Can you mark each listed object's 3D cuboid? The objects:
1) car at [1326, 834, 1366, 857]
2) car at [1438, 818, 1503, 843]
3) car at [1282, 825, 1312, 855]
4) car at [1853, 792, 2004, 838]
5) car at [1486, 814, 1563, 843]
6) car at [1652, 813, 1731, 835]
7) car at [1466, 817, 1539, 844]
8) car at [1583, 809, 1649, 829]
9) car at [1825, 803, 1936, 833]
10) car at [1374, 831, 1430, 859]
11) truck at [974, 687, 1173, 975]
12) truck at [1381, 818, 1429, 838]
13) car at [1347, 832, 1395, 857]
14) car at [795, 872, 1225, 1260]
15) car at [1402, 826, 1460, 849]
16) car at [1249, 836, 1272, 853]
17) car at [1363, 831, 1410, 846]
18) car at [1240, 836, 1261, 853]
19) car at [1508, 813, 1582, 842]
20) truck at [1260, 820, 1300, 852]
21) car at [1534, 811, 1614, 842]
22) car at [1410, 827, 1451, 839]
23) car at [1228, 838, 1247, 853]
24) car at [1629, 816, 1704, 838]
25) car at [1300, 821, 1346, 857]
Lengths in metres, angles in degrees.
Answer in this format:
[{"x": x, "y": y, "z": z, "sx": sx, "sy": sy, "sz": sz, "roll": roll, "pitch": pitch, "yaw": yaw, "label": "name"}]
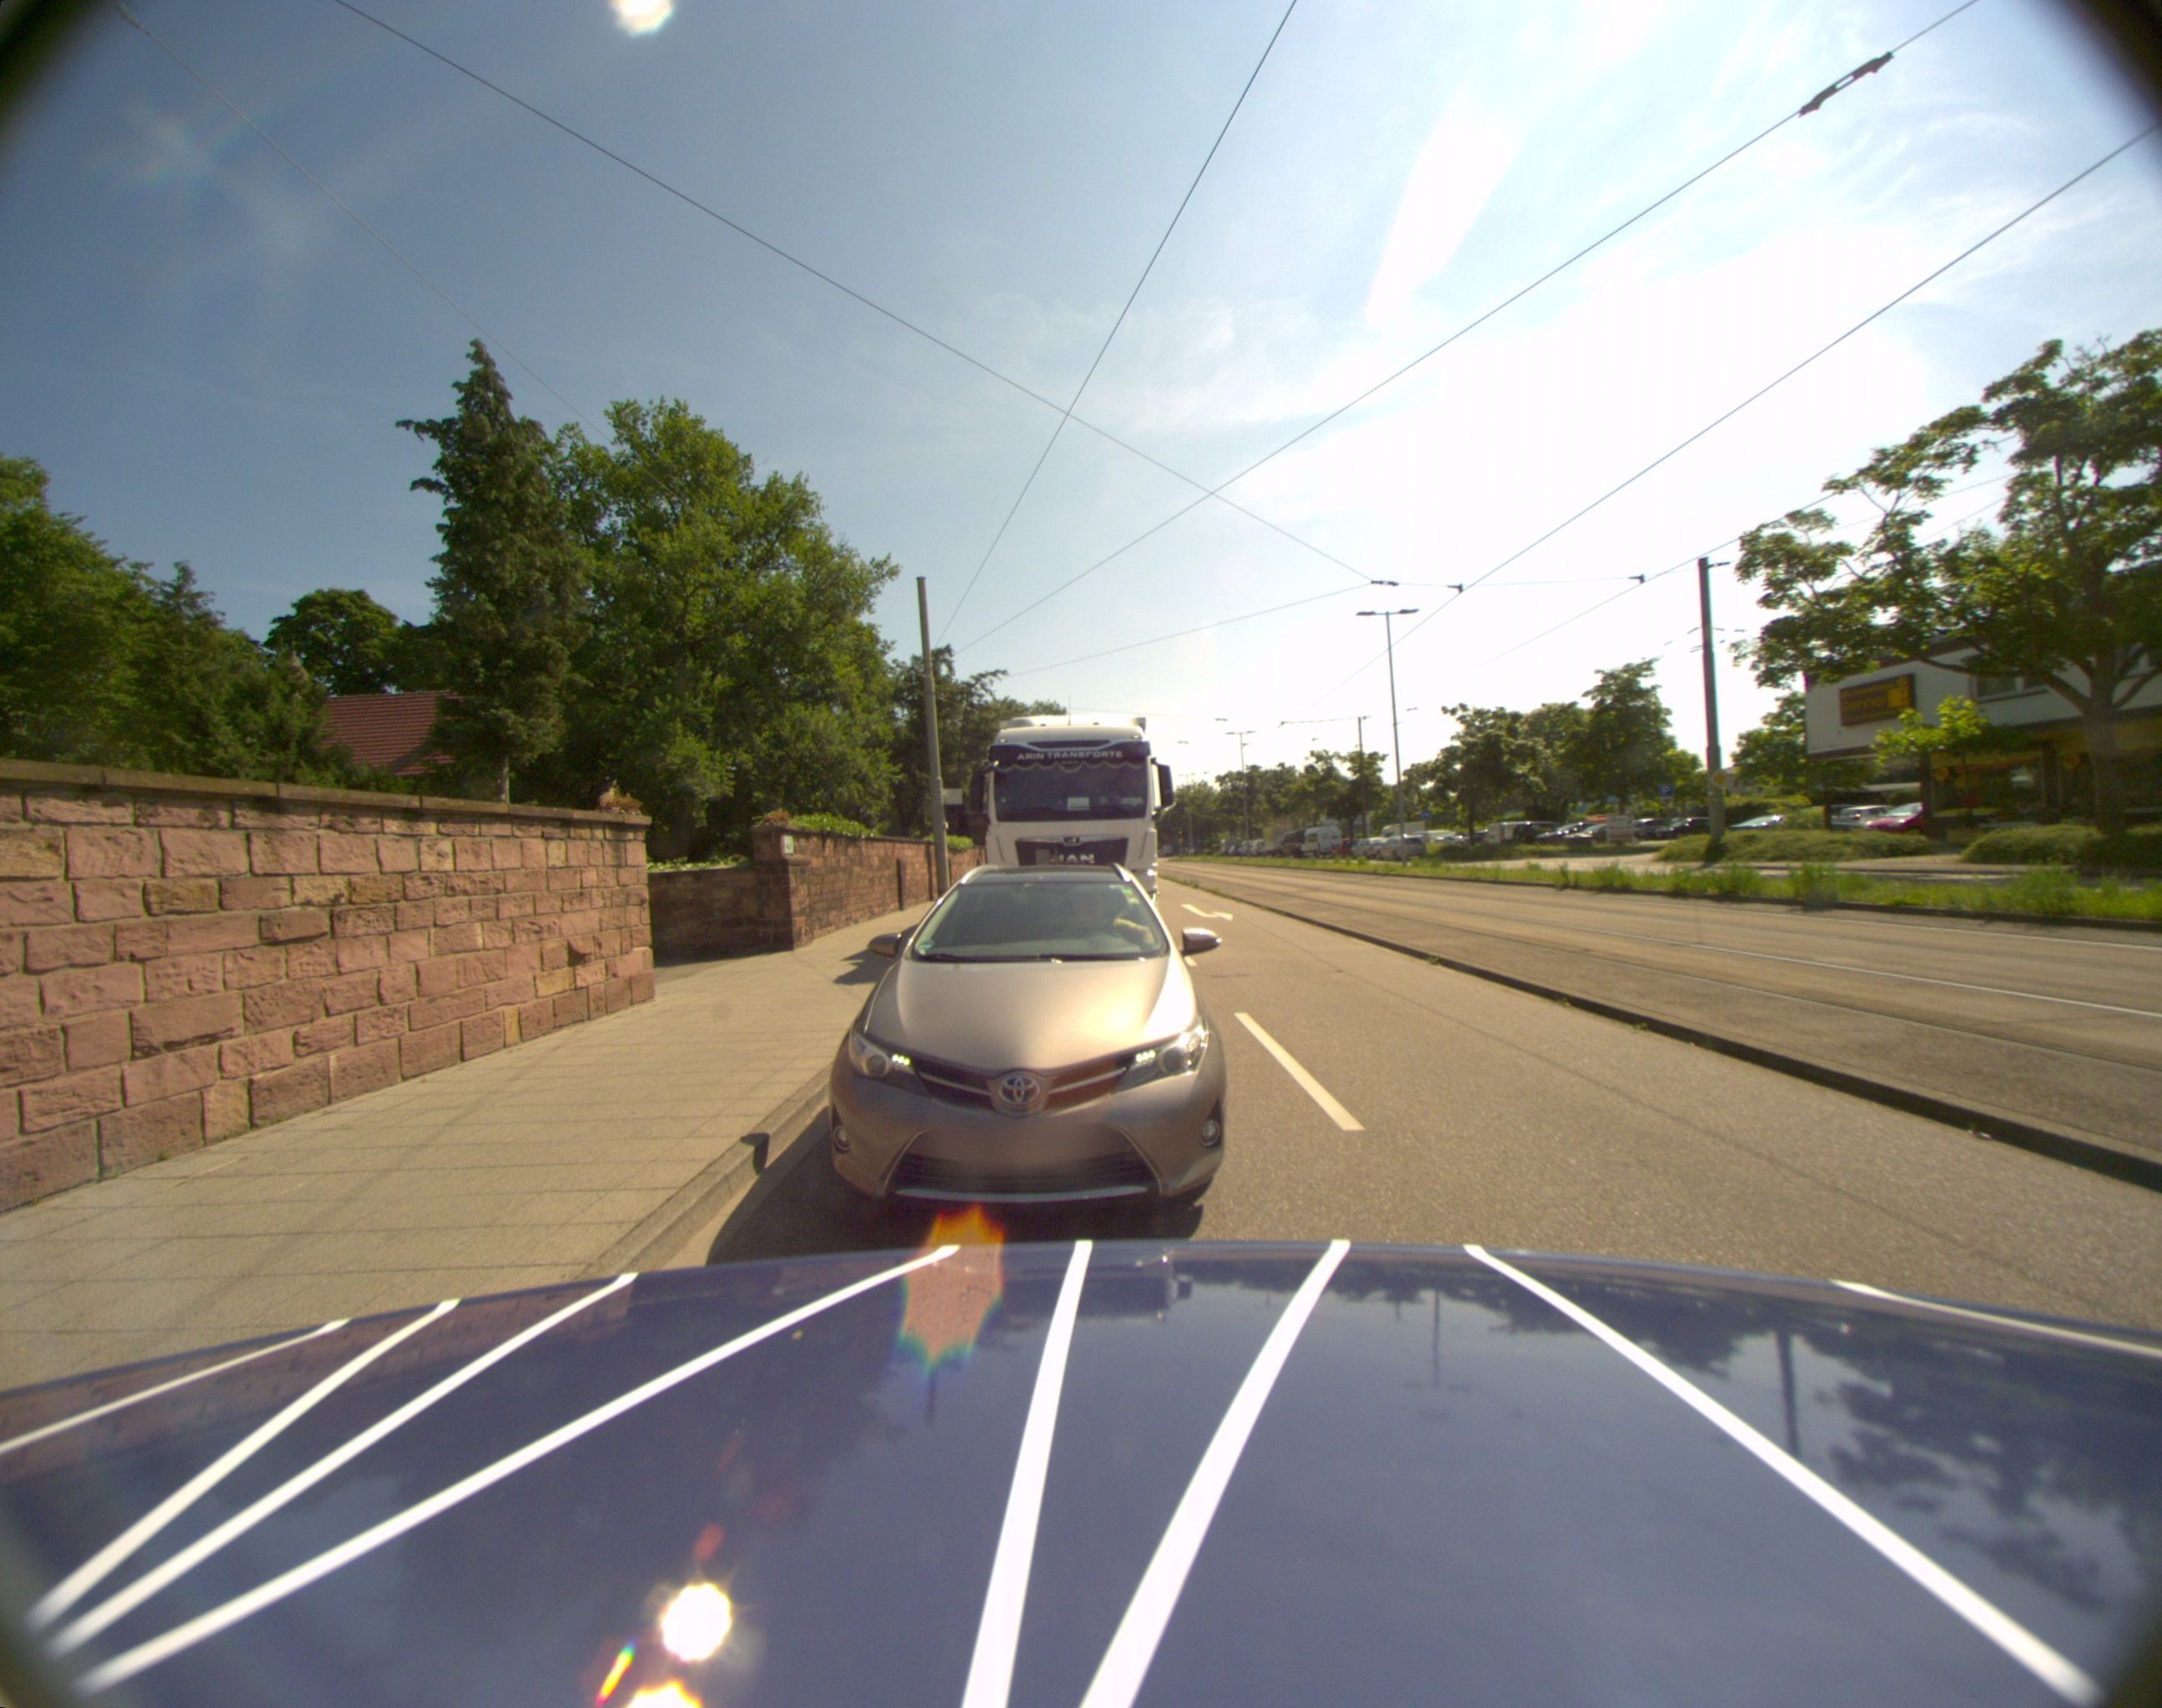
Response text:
[{"x": 20.476, "y": -0.651, "z": 58.750, "sx": 1.675, "sy": 1.524, "sz": 3.793, "roll": -6, "pitch": 0, "yaw": 1, "label": "car"}, {"x": 31.230, "y": -1.862, "z": 60.972, "sx": 4.117, "sy": 1.728, "sz": 1.990, "roll": -3, "pitch": 1, "yaw": -2, "label": "car"}, {"x": 19.951, "y": -1.258, "z": 70.344, "sx": 1.502, "sy": 2.609, "sz": 4.007, "roll": -6, "pitch": 0, "yaw": 1, "label": "car"}, {"x": 35.261, "y": -1.583, "z": 31.678, "sx": 4.252, "sy": 1.595, "sz": 1.676, "roll": -3, "pitch": 1, "yaw": 2, "label": "car"}, {"x": 30.692, "y": -1.772, "z": 52.664, "sx": 4.117, "sy": 1.728, "sz": 1.990, "roll": -3, "pitch": 1, "yaw": -2, "label": "car"}, {"x": 44.028, "y": -2.143, "z": 54.877, "sx": 4.252, "sy": 1.327, "sz": 1.676, "roll": -3, "pitch": 0, "yaw": 2, "label": "car"}, {"x": 30.532, "y": -1.685, "z": 55.134, "sx": 4.117, "sy": 1.728, "sz": 1.990, "roll": -3, "pitch": 1, "yaw": -2, "label": "car"}, {"x": 43.996, "y": -2.848, "z": 62.510, "sx": 4.254, "sy": 1.327, "sz": 1.676, "roll": -3, "pitch": 0, "yaw": -1, "label": "car"}, {"x": 44.284, "y": -1.979, "z": 42.143, "sx": 4.252, "sy": 1.327, "sz": 1.676, "roll": -3, "pitch": 0, "yaw": 2, "label": "car"}, {"x": 20.287, "y": -0.536, "z": 48.165, "sx": 1.675, "sy": 1.524, "sz": 4.256, "roll": -6, "pitch": 0, "yaw": 1, "label": "car"}, {"x": -0.013, "y": -0.365, "z": 15.115, "sx": 2.628, "sy": 3.906, "sz": 9.285, "roll": -2, "pitch": 1, "yaw": 1, "label": "truck"}, {"x": 44.754, "y": -3.527, "z": 105.095, "sx": 5.652, "sy": 2.367, "sz": 1.990, "roll": -3, "pitch": 1, "yaw": -2, "label": "truck"}, {"x": 20.444, "y": -0.628, "z": 53.653, "sx": 1.675, "sy": 1.524, "sz": 4.256, "roll": -6, "pitch": 0, "yaw": 1, "label": "car"}, {"x": -0.261, "y": 0.891, "z": 5.009, "sx": 1.654, "sy": 1.374, "sz": 4.000, "roll": -2, "pitch": 0, "yaw": 1, "label": "car"}, {"x": 31.167, "y": -1.402, "z": 67.875, "sx": 2.594, "sy": 1.800, "sz": 5.741, "roll": -3, "pitch": 0, "yaw": 2, "label": "car"}, {"x": 20.590, "y": -1.044, "z": 87.358, "sx": 1.502, "sy": 1.793, "sz": 4.633, "roll": -6, "pitch": 0, "yaw": 1, "label": "car"}, {"x": 32.314, "y": -1.594, "z": 80.392, "sx": 4.253, "sy": 1.327, "sz": 1.676, "roll": -3, "pitch": 0, "yaw": 1, "label": "car"}, {"x": 20.965, "y": -1.146, "z": 94.215, "sx": 1.502, "sy": 1.835, "sz": 4.059, "roll": -6, "pitch": 0, "yaw": 0, "label": "car"}, {"x": 30.576, "y": -1.717, "z": 50.139, "sx": 3.810, "sy": 1.625, "sz": 1.676, "roll": -3, "pitch": 1, "yaw": 2, "label": "car"}, {"x": 20.540, "y": -1.798, "z": 78.815, "sx": 2.508, "sy": 2.917, "sz": 5.903, "roll": -6, "pitch": 0, "yaw": 2, "label": "truck"}, {"x": 30.507, "y": -1.690, "z": 47.109, "sx": 3.810, "sy": 1.625, "sz": 1.676, "roll": -3, "pitch": 1, "yaw": 2, "label": "car"}, {"x": 43.734, "y": -2.624, "z": 95.105, "sx": 4.253, "sy": 1.327, "sz": 1.676, "roll": -3, "pitch": 0, "yaw": 1, "label": "car"}, {"x": 20.620, "y": -1.090, "z": 100.067, "sx": 1.502, "sy": 1.775, "sz": 3.687, "roll": -6, "pitch": 0, "yaw": 0, "label": "car"}, {"x": 44.150, "y": -2.026, "z": 57.376, "sx": 4.252, "sy": 1.327, "sz": 1.676, "roll": -3, "pitch": 0, "yaw": 2, "label": "car"}, {"x": 20.281, "y": -1.226, "z": 63.985, "sx": 2.062, "sy": 2.638, "sz": 5.203, "roll": -6, "pitch": 0, "yaw": 1, "label": "car"}]
